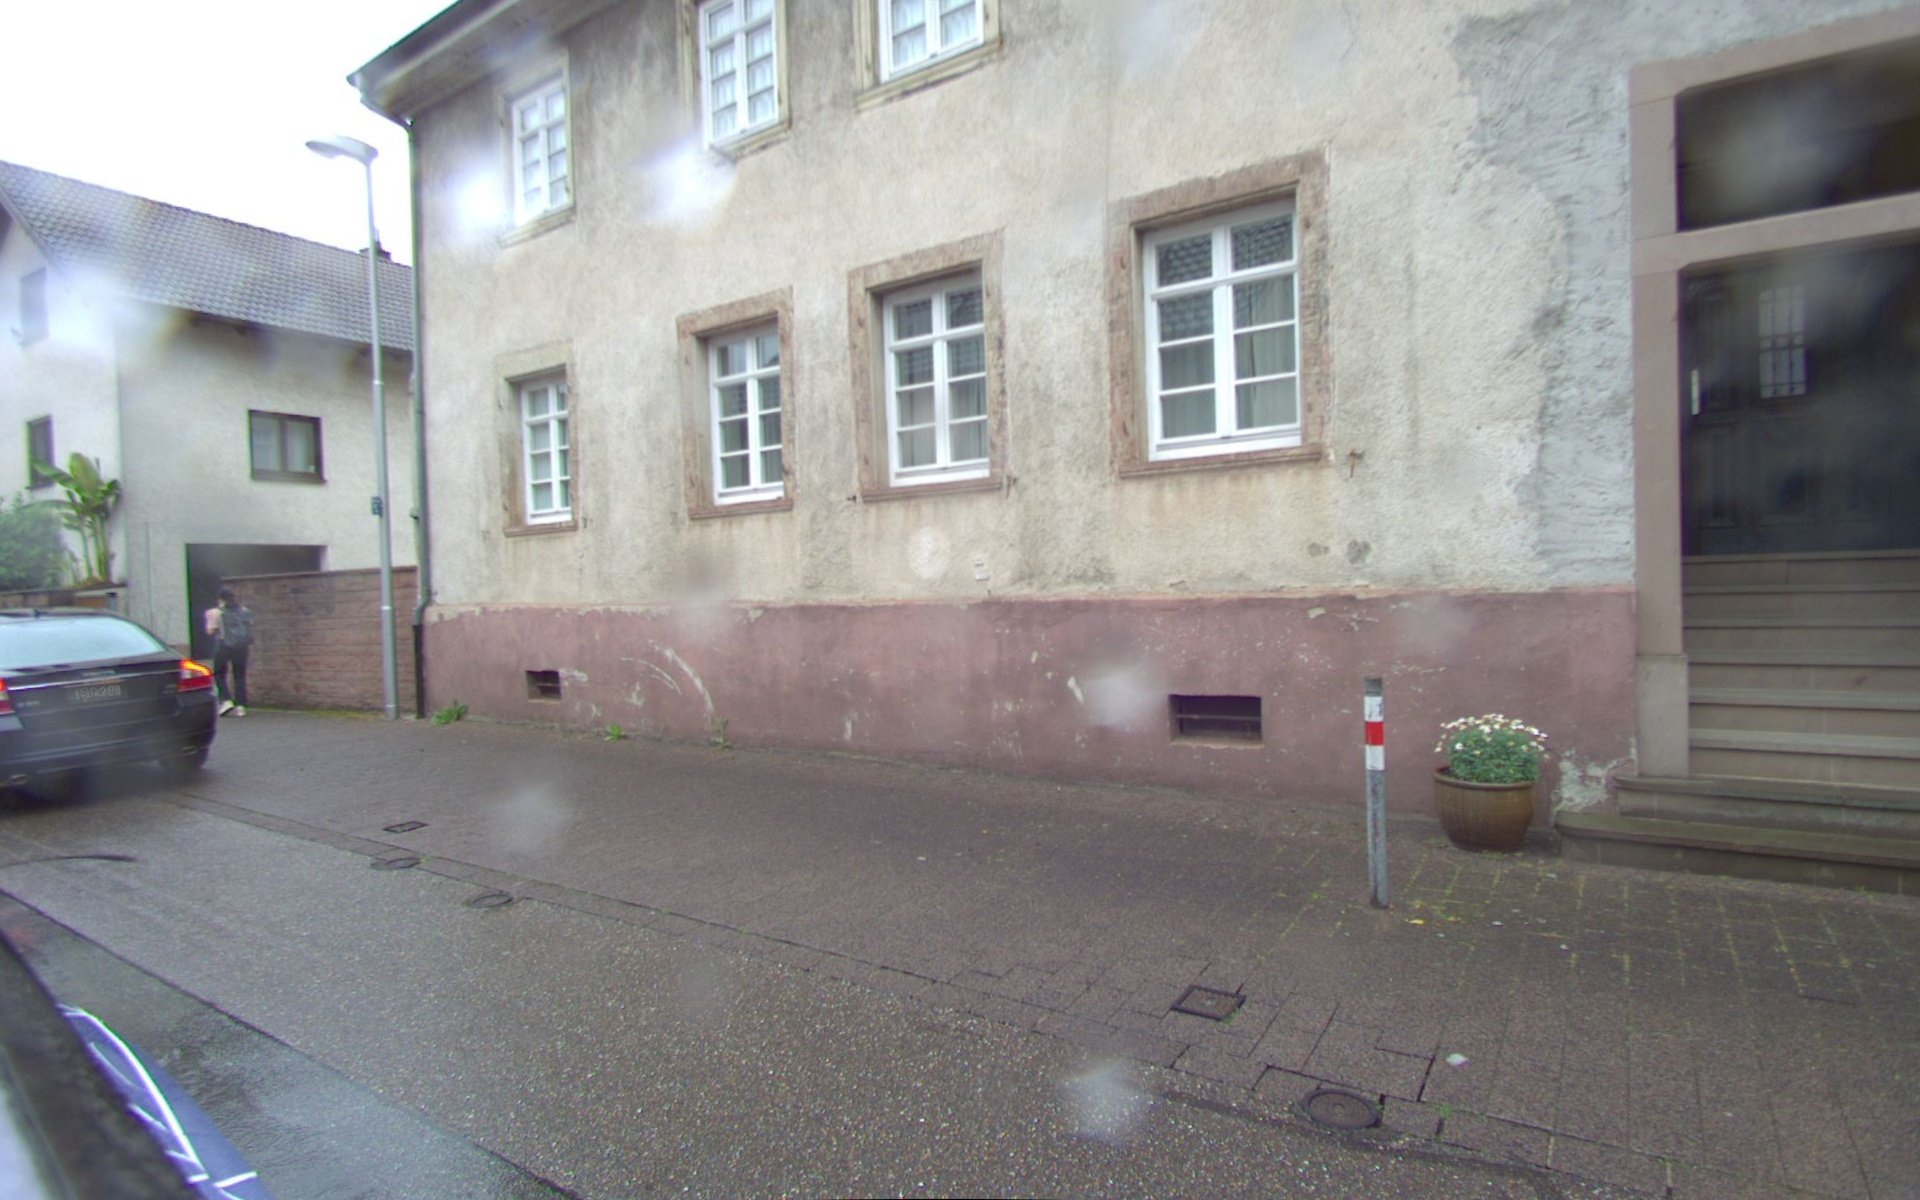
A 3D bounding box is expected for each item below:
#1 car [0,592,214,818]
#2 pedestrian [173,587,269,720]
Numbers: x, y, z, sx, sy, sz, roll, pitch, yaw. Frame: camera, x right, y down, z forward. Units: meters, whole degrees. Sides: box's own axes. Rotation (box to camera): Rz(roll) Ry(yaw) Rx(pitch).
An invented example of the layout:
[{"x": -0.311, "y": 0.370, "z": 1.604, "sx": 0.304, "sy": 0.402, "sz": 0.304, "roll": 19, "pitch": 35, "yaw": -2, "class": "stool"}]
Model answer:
[{"x": -8.155, "y": 0.748, "z": 8.490, "sx": 4.330, "sy": 1.520, "sz": 1.682, "roll": -1, "pitch": 1, "yaw": 34, "class": "car"}, {"x": -9.050, "y": 0.641, "z": 12.395, "sx": 0.829, "sy": 1.549, "sz": 0.568, "roll": -1, "pitch": 2, "yaw": 29, "class": "pedestrian"}]
